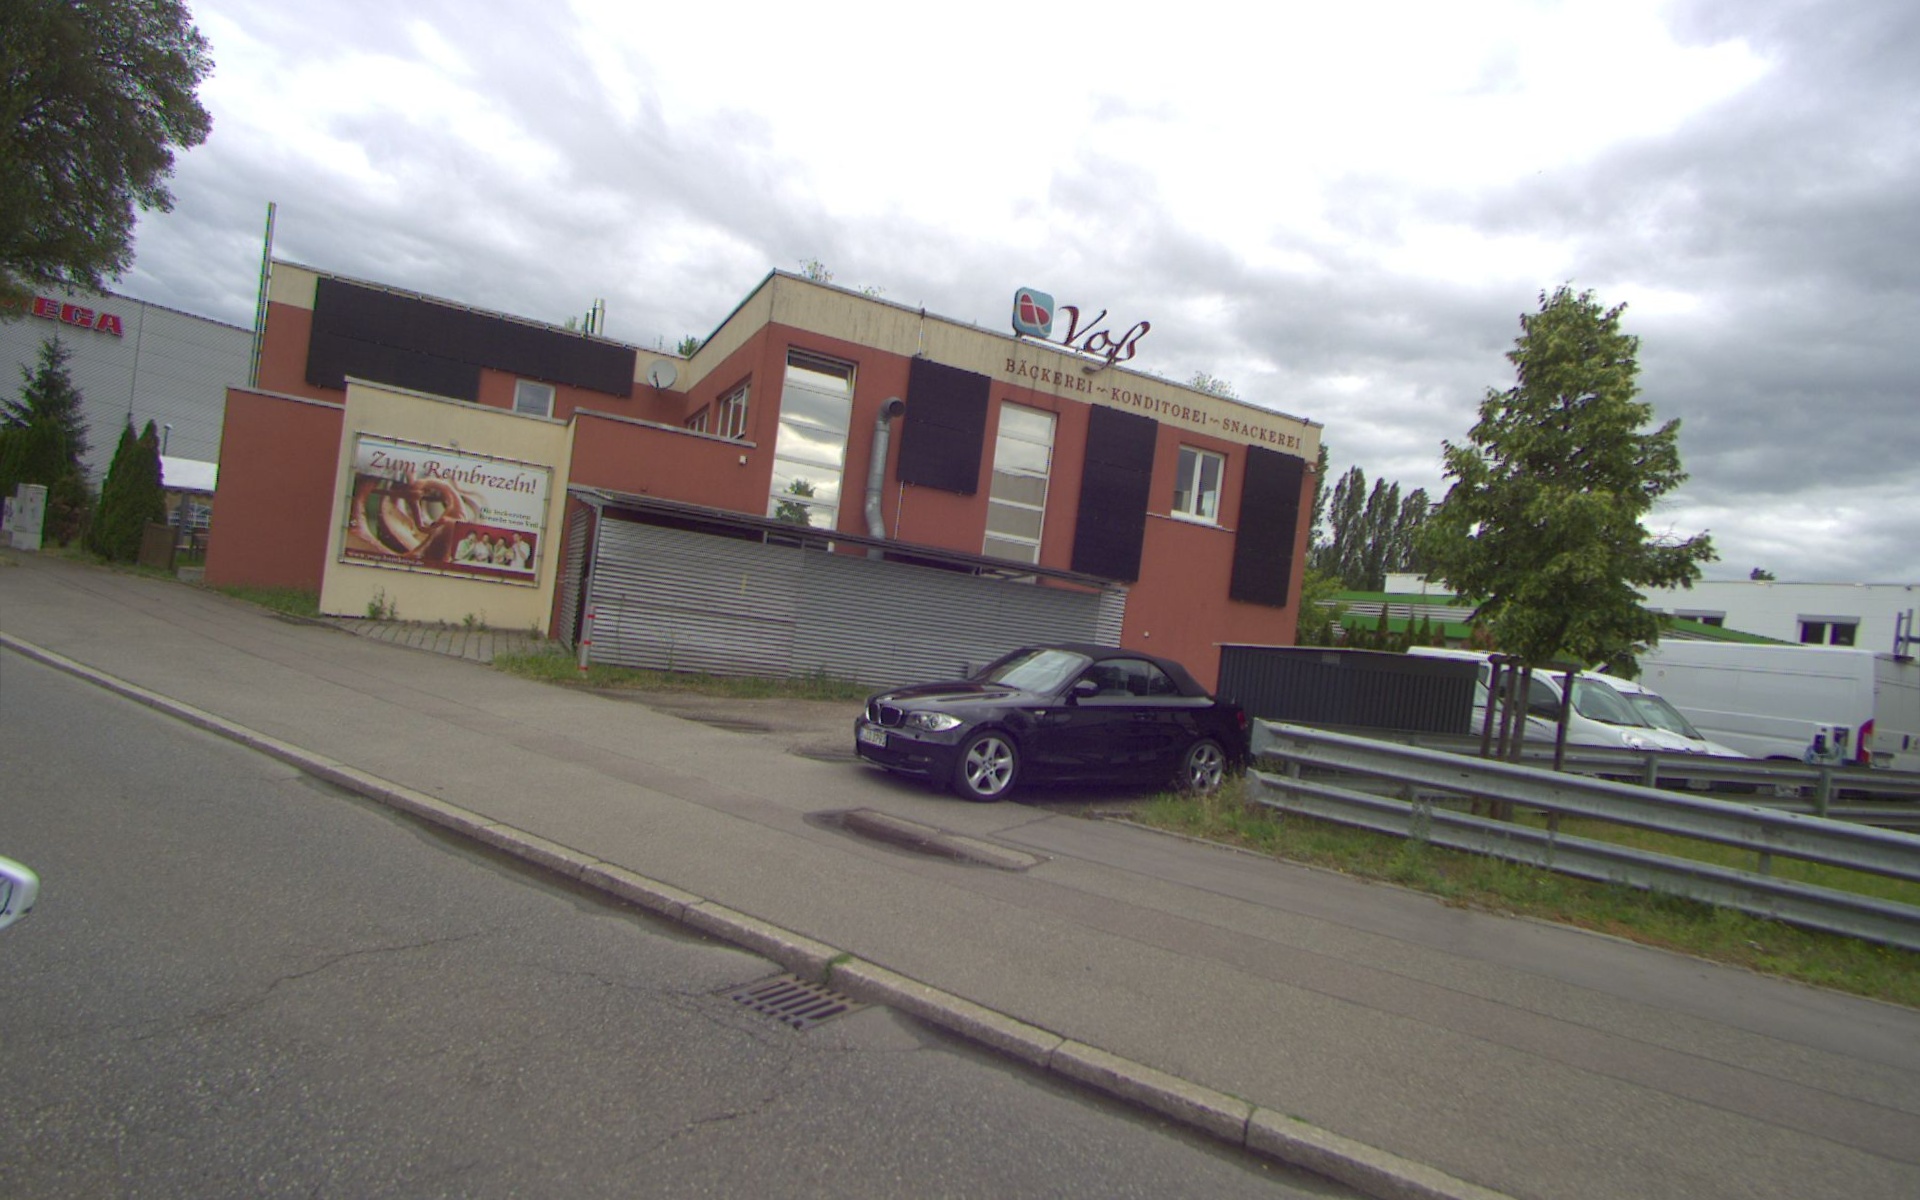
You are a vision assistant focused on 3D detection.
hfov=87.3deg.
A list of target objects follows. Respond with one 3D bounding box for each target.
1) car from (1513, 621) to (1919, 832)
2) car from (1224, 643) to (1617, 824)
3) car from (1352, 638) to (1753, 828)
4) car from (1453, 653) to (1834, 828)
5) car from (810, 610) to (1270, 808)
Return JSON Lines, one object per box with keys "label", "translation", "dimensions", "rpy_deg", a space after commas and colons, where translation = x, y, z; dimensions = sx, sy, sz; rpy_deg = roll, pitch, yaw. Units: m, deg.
{"label": "car", "translation": [12.717, 1.946, 17.094], "dimensions": [2.071, 2.620, 5.390], "rpy_deg": [8, -1, -25]}
{"label": "car", "translation": [5.709, 1.598, 13.249], "dimensions": [2.128, 1.567, 4.505], "rpy_deg": [6, 0, -17]}
{"label": "car", "translation": [8.155, 1.754, 14.383], "dimensions": [1.839, 1.854, 4.511], "rpy_deg": [8, -1, -27]}
{"label": "car", "translation": [10.306, 2.044, 15.601], "dimensions": [1.797, 1.854, 4.411], "rpy_deg": [8, -1, -27]}
{"label": "car", "translation": [0.868, 1.075, 9.845], "dimensions": [4.190, 1.461, 1.748], "rpy_deg": [6, 0, -33]}
